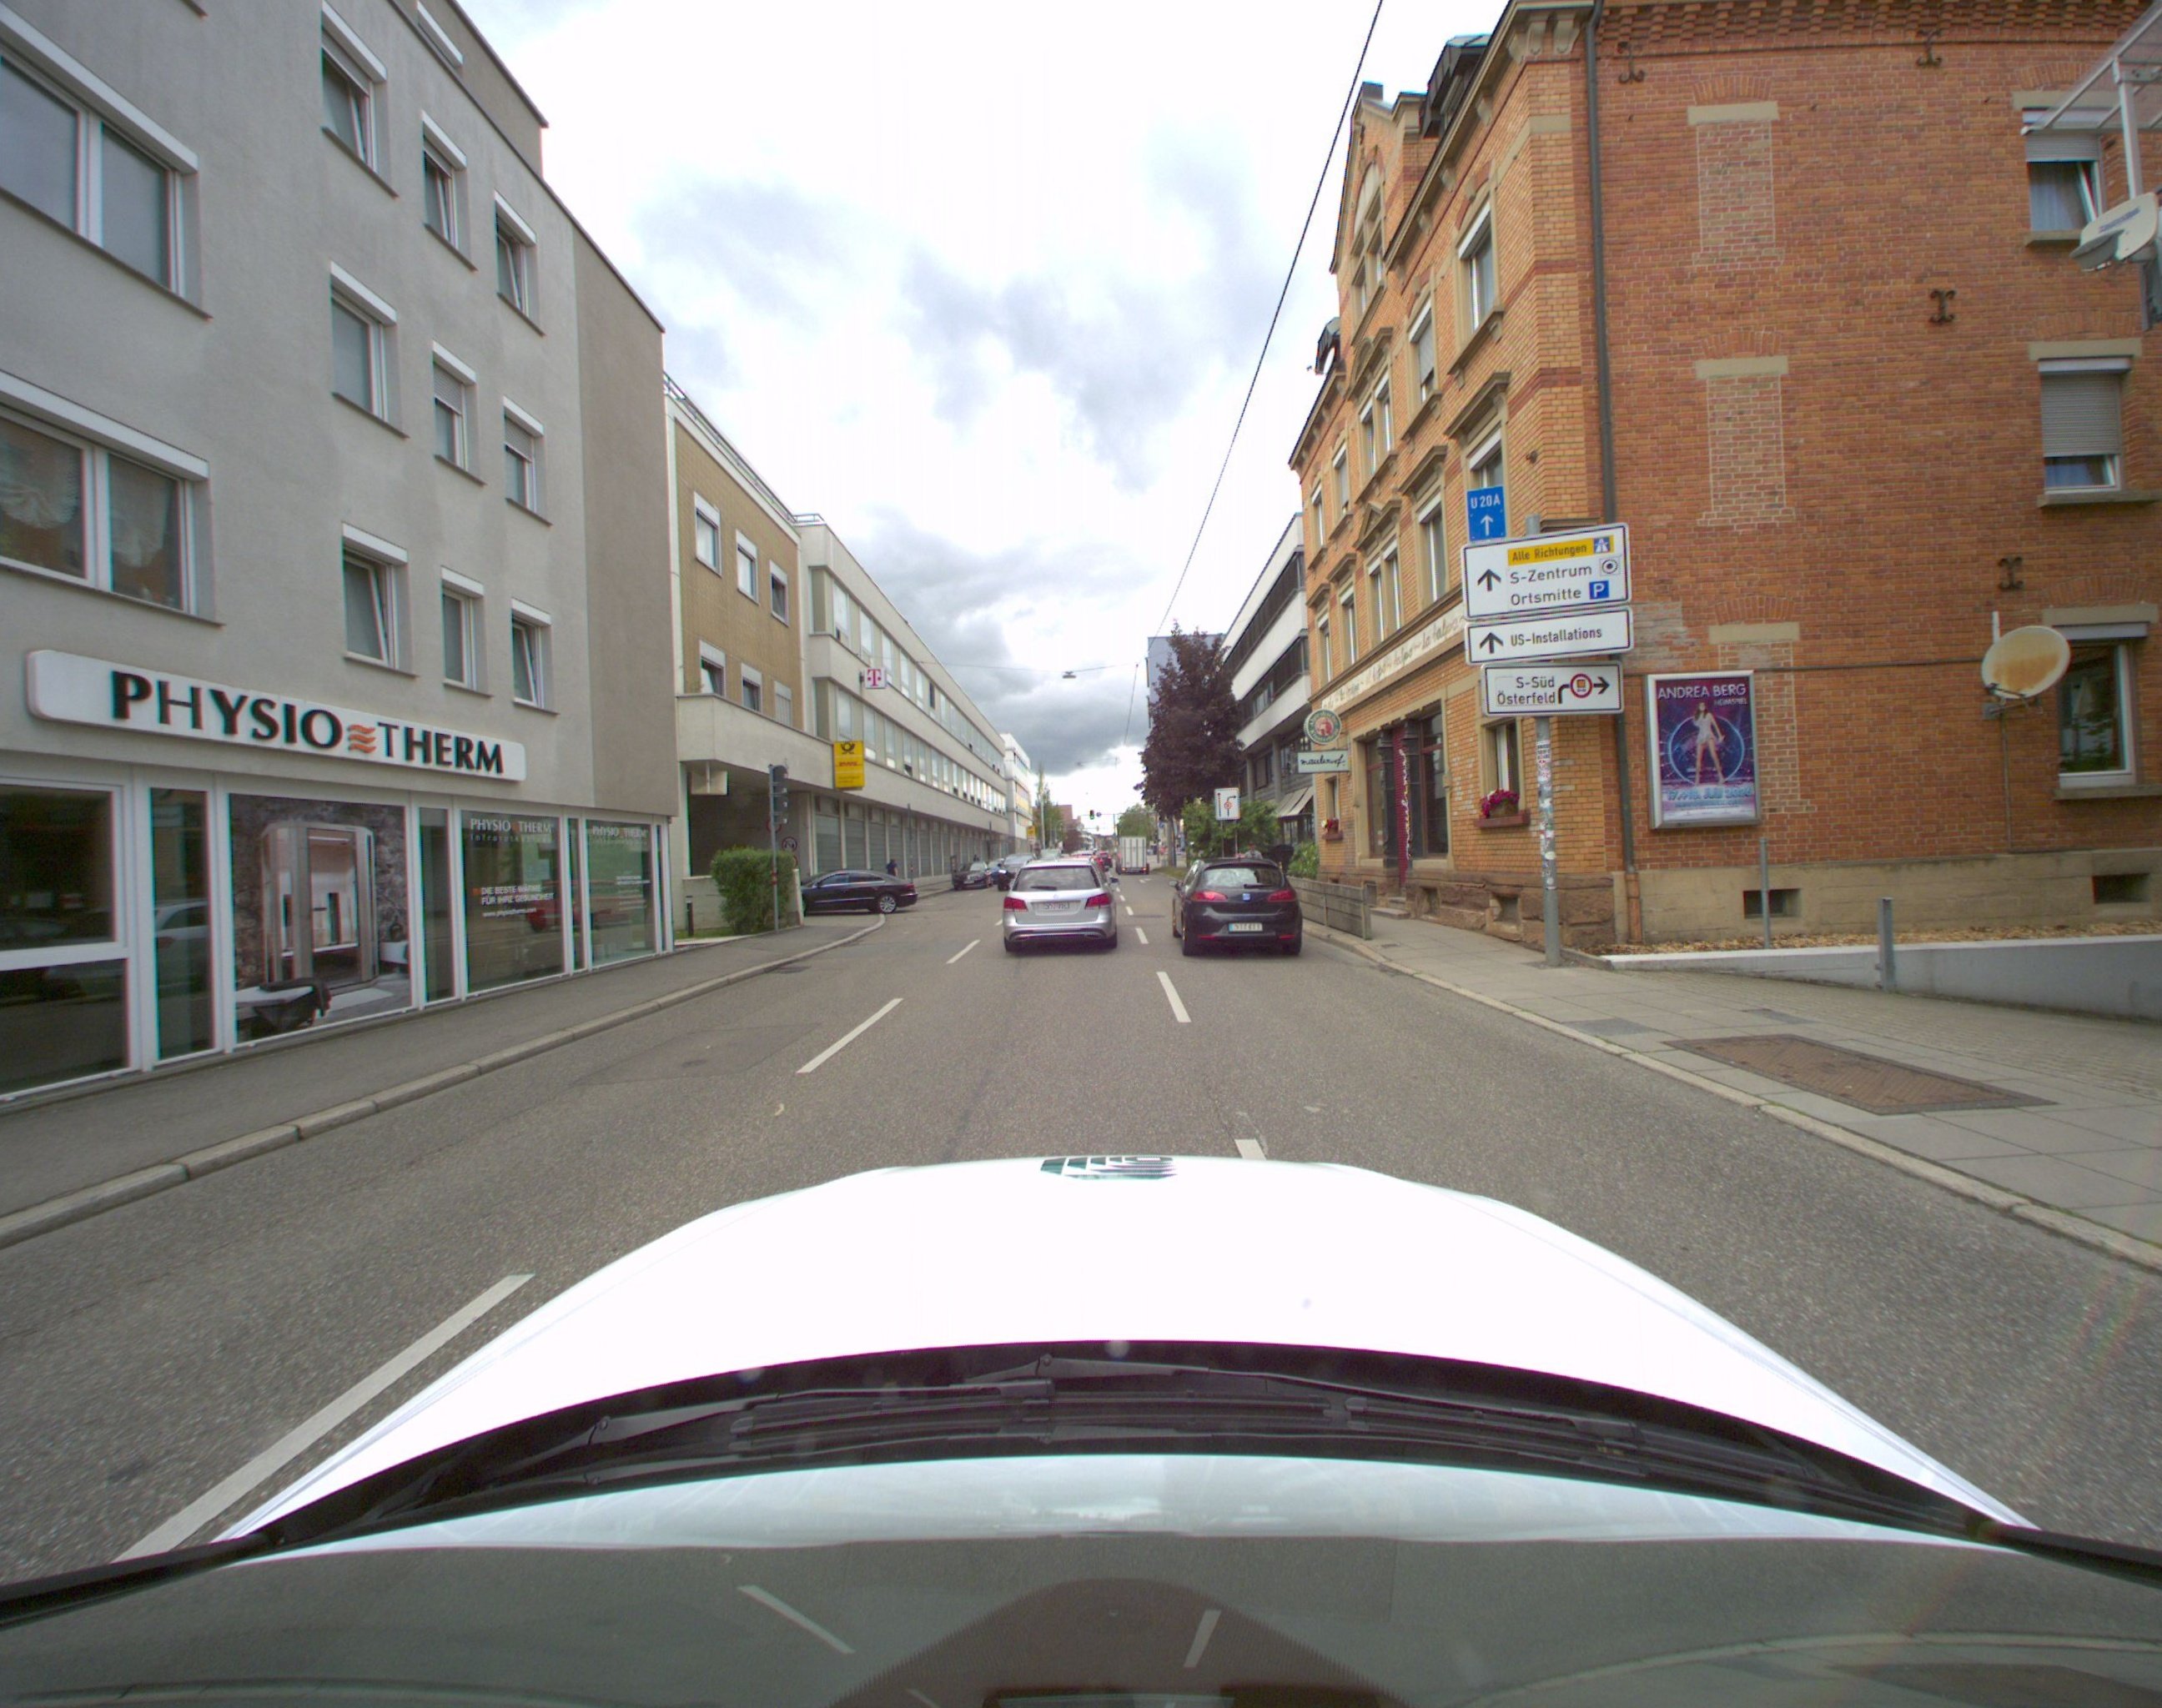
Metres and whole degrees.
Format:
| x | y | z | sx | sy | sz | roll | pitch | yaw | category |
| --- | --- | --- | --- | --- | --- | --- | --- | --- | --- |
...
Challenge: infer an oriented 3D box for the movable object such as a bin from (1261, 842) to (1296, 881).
| x | y | z | sx | sy | sz | roll | pitch | yaw | category |
| --- | --- | --- | --- | --- | --- | --- | --- | --- | --- |
| 7.895 | 0.291 | 32.574 | 0.940 | 1.470 | 1.445 | -4 | 0 | -1 | movable object such as a bin |

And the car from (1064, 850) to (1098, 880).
| x | y | z | sx | sy | sz | roll | pitch | yaw | category |
| --- | --- | --- | --- | --- | --- | --- | --- | --- | --- |
| 0.009 | 0.586 | 45.440 | 1.797 | 1.601 | 3.738 | -1 | 0 | 1 | car |

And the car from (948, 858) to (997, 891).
| x | y | z | sx | sy | sz | roll | pitch | yaw | category |
| --- | --- | --- | --- | --- | --- | --- | --- | --- | --- |
| -5.651 | 1.018 | 42.875 | 1.906 | 1.516 | 4.175 | -4 | 0 | 1 | car |

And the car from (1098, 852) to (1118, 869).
| x | y | z | sx | sy | sz | roll | pitch | yaw | category |
| --- | --- | --- | --- | --- | --- | --- | --- | --- | --- |
| 2.605 | 0.622 | 79.457 | 1.797 | 1.601 | 3.738 | -1 | 0 | 1 | car |

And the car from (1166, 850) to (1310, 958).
| x | y | z | sx | sy | sz | roll | pitch | yaw | category |
| --- | --- | --- | --- | --- | --- | --- | --- | --- | --- |
| 2.385 | 0.692 | 13.243 | 1.758 | 1.433 | 3.832 | -2 | 0 | 3 | car |

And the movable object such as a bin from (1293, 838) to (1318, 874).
| x | y | z | sx | sy | sz | roll | pitch | yaw | category |
| --- | --- | --- | --- | --- | --- | --- | --- | --- | --- |
| 10.127 | 0.097 | 36.691 | 0.818 | 1.504 | 0.732 | -5 | -1 | 2 | movable object such as a bin |

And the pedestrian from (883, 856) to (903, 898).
| x | y | z | sx | sy | sz | roll | pitch | yaw | category |
| --- | --- | --- | --- | --- | --- | --- | --- | --- | --- |
| -8.295 | 1.003 | 35.971 | 0.640 | 1.769 | 0.810 | -2 | 0 | 0 | pedestrian |

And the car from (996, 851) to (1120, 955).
| x | y | z | sx | sy | sz | roll | pitch | yaw | category |
| --- | --- | --- | --- | --- | --- | --- | --- | --- | --- |
| -0.323 | 0.726 | 14.091 | 1.797 | 1.492 | 3.738 | -2 | 0 | 1 | car |

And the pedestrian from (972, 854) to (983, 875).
| x | y | z | sx | sy | sz | roll | pitch | yaw | category |
| --- | --- | --- | --- | --- | --- | --- | --- | --- | --- |
| -8.084 | 0.817 | 63.627 | 0.653 | 1.623 | 0.681 | -2 | 0 | 2 | pedestrian |

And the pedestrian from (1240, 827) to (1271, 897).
| x | y | z | sx | sy | sz | roll | pitch | yaw | category |
| --- | --- | --- | --- | --- | --- | --- | --- | --- | --- |
| 5.142 | 0.229 | 24.061 | 0.691 | 2.013 | 0.676 | -2 | 0 | 0 | pedestrian |

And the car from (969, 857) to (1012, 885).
| x | y | z | sx | sy | sz | roll | pitch | yaw | category |
| --- | --- | --- | --- | --- | --- | --- | --- | --- | --- |
| -5.388 | 0.961 | 48.789 | 1.987 | 1.517 | 4.175 | -2 | 0 | 1 | car |

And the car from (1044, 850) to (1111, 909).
| x | y | z | sx | sy | sz | roll | pitch | yaw | category |
| --- | --- | --- | --- | --- | --- | --- | --- | --- | --- |
| -0.080 | 0.701 | 24.366 | 1.797 | 1.553 | 3.738 | -2 | 0 | 1 | car |

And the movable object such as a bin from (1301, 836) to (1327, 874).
| x | y | z | sx | sy | sz | roll | pitch | yaw | category |
| --- | --- | --- | --- | --- | --- | --- | --- | --- | --- |
| 10.051 | 0.042 | 35.179 | 0.818 | 1.589 | 0.732 | -5 | -1 | 2 | movable object such as a bin |

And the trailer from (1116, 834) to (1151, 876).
| x | y | z | sx | sy | sz | roll | pitch | yaw | category |
| --- | --- | --- | --- | --- | --- | --- | --- | --- | --- |
| 3.456 | 0.076 | 54.536 | 1.987 | 2.607 | 5.349 | -2 | 0 | 1 | trailer |

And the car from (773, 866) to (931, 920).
| x | y | z | sx | sy | sz | roll | pitch | yaw | category |
| --- | --- | --- | --- | --- | --- | --- | --- | --- | --- |
| -7.074 | 1.149 | 25.291 | 4.425 | 1.365 | 1.769 | -2 | 0 | -29 | car |

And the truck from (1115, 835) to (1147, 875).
| x | y | z | sx | sy | sz | roll | pitch | yaw | category |
| --- | --- | --- | --- | --- | --- | --- | --- | --- | --- |
| 3.499 | 0.062 | 57.321 | 1.987 | 2.607 | 3.260 | -2 | 0 | 0 | truck |

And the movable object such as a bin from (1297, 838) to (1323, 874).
| x | y | z | sx | sy | sz | roll | pitch | yaw | category |
| --- | --- | --- | --- | --- | --- | --- | --- | --- | --- |
| 10.103 | 0.103 | 35.933 | 0.818 | 1.490 | 0.732 | -5 | -1 | 2 | movable object such as a bin |

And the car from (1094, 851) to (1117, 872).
| x | y | z | sx | sy | sz | roll | pitch | yaw | category |
| --- | --- | --- | --- | --- | --- | --- | --- | --- | --- |
| 2.001 | 0.608 | 66.558 | 1.797 | 1.601 | 3.738 | -1 | 0 | 1 | car |

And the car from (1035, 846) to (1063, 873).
| x | y | z | sx | sy | sz | roll | pitch | yaw | category |
| --- | --- | --- | --- | --- | --- | --- | --- | --- | --- |
| -2.594 | 0.463 | 67.134 | 1.987 | 2.013 | 4.903 | -4 | 0 | 1 | car |

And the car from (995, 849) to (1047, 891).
| x | y | z | sx | sy | sz | roll | pitch | yaw | category |
| --- | --- | --- | --- | --- | --- | --- | --- | --- | --- |
| -2.805 | 0.723 | 39.133 | 1.987 | 1.738 | 4.554 | -4 | 0 | 1 | car |

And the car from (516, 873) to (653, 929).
| x | y | z | sx | sy | sz | roll | pitch | yaw | category |
| --- | --- | --- | --- | --- | --- | --- | --- | --- | --- |
| -14.744 | 1.361 | 24.429 | 1.747 | 1.457 | 3.692 | -1 | 0 | 2 | car |

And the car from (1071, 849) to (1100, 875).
| x | y | z | sx | sy | sz | roll | pitch | yaw | category |
| --- | --- | --- | --- | --- | --- | --- | --- | --- | --- |
| 0.314 | 0.480 | 53.184 | 1.797 | 1.601 | 3.738 | -1 | 0 | 1 | car |

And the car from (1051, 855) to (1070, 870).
| x | y | z | sx | sy | sz | roll | pitch | yaw | category |
| --- | --- | --- | --- | --- | --- | --- | --- | --- | --- |
| -2.097 | 0.849 | 85.869 | 1.763 | 1.413 | 4.175 | -4 | 0 | 1 | car |
